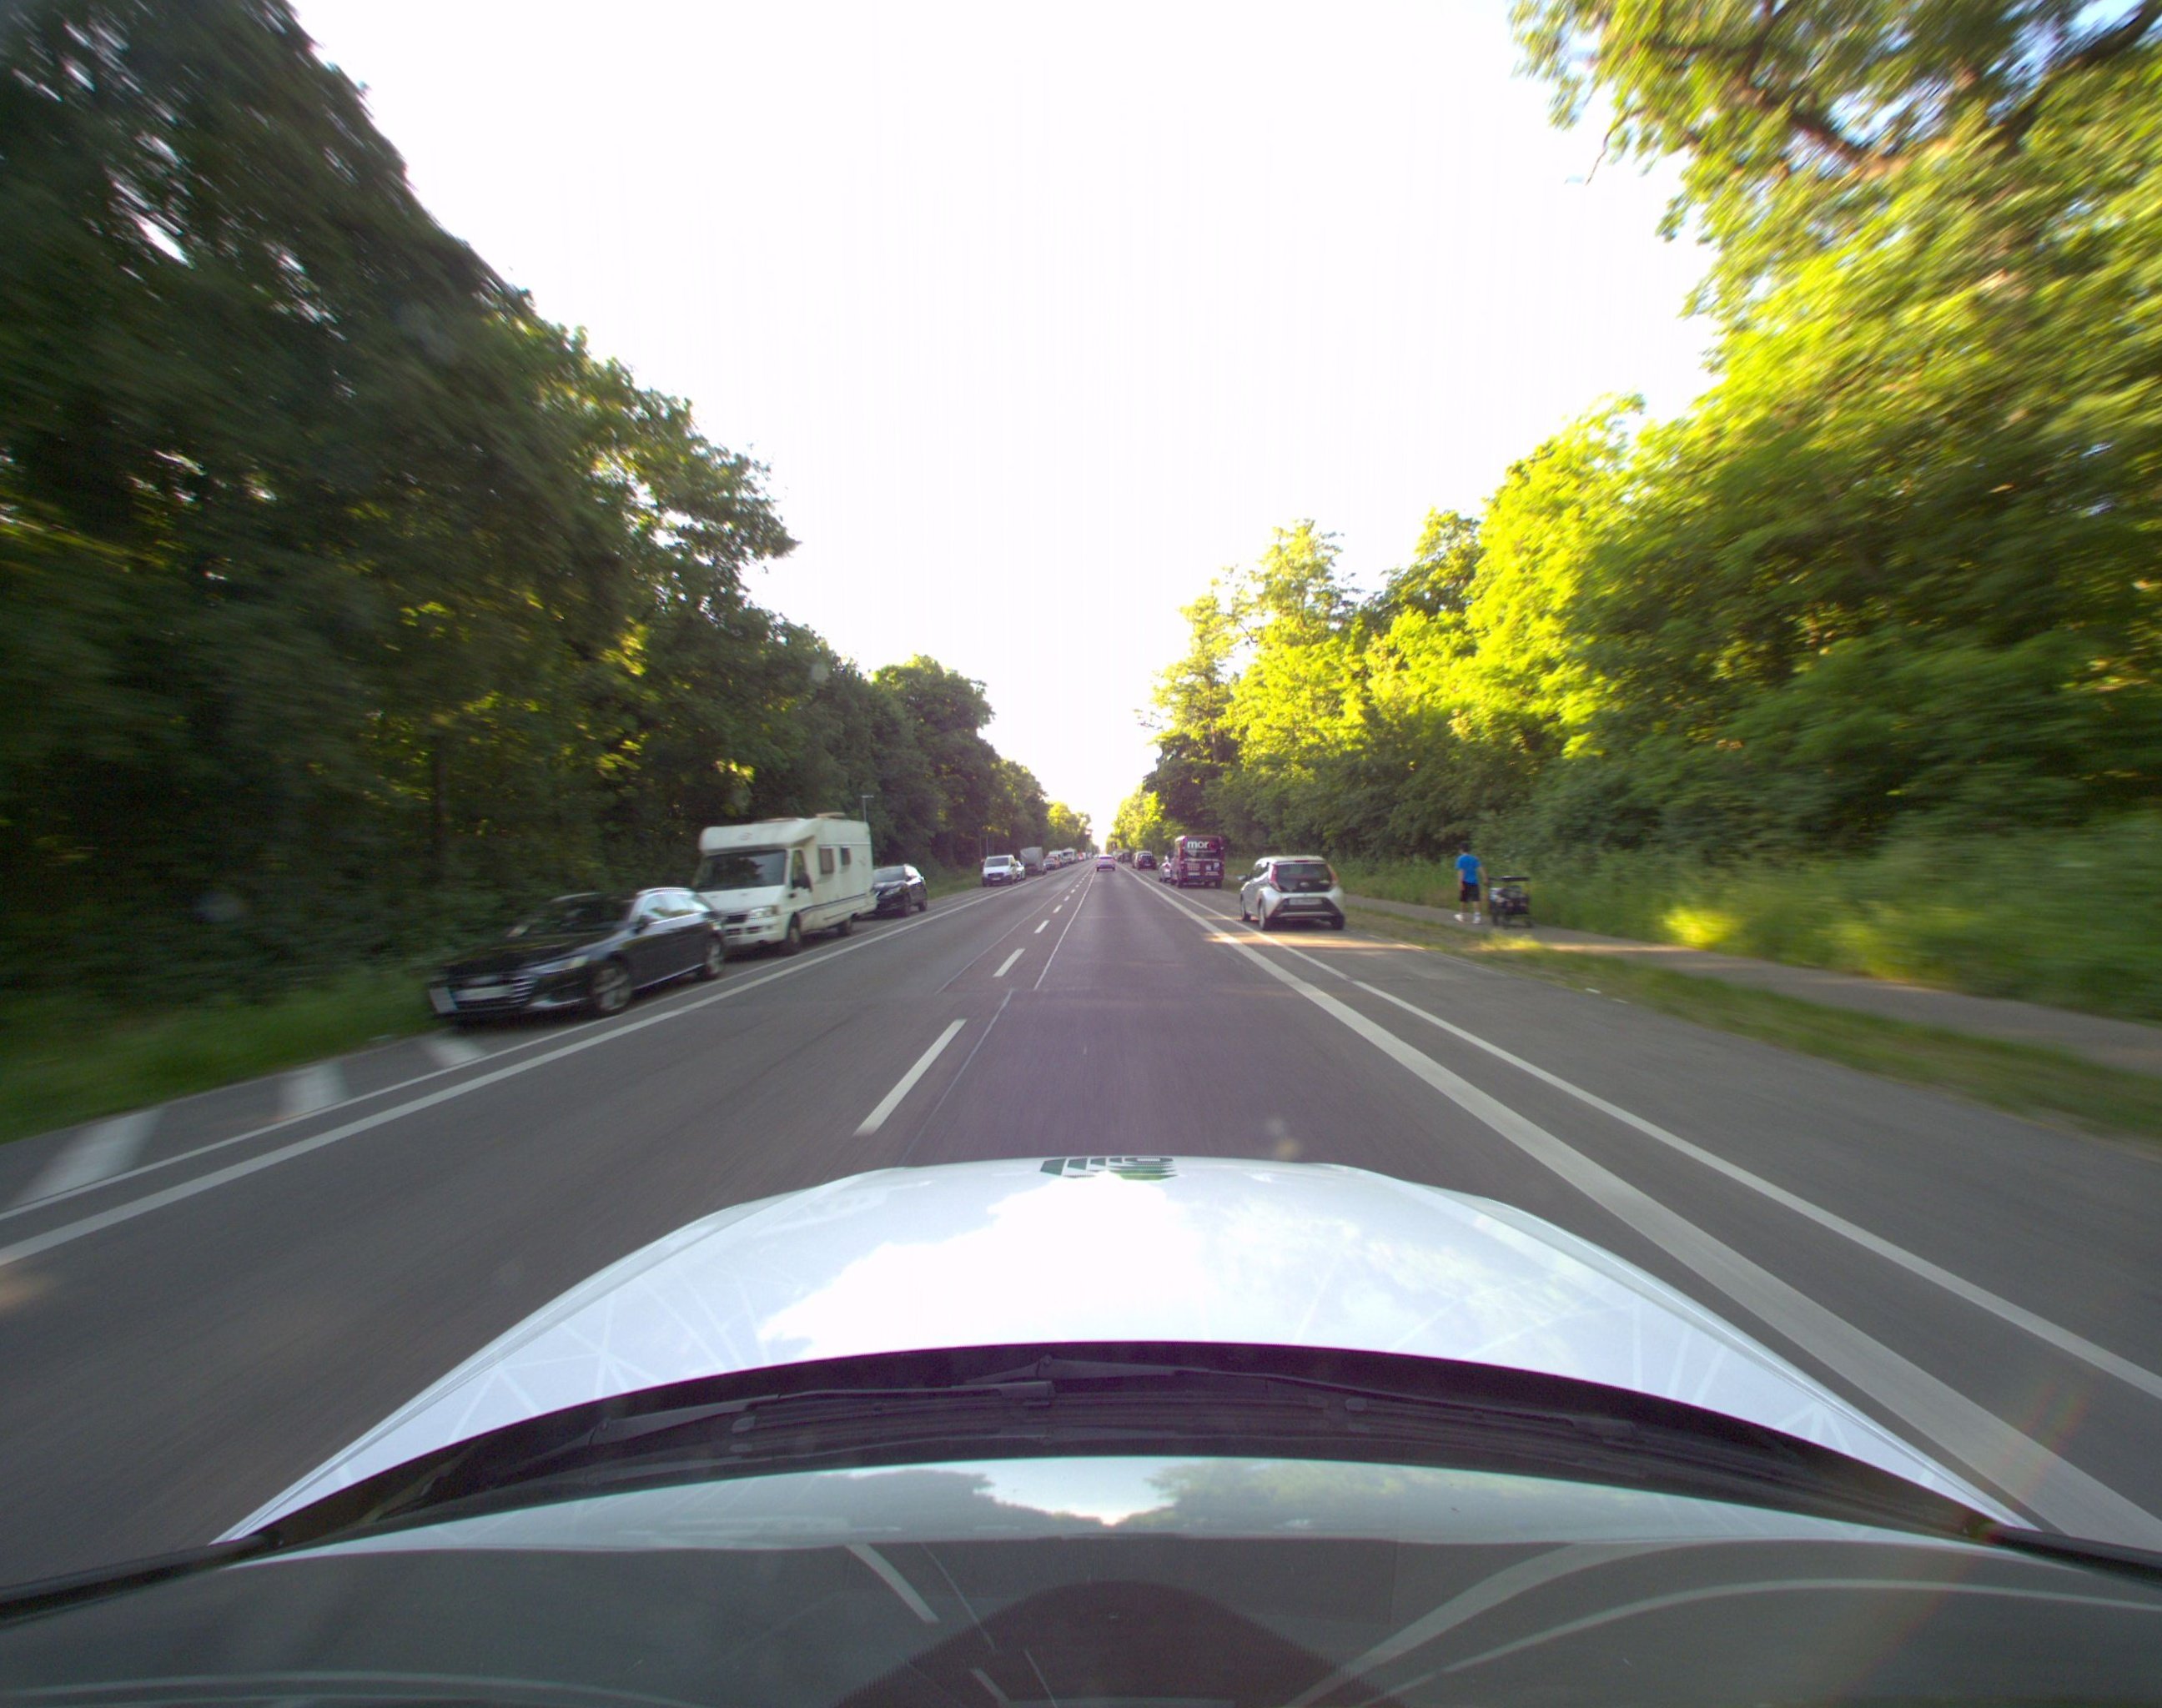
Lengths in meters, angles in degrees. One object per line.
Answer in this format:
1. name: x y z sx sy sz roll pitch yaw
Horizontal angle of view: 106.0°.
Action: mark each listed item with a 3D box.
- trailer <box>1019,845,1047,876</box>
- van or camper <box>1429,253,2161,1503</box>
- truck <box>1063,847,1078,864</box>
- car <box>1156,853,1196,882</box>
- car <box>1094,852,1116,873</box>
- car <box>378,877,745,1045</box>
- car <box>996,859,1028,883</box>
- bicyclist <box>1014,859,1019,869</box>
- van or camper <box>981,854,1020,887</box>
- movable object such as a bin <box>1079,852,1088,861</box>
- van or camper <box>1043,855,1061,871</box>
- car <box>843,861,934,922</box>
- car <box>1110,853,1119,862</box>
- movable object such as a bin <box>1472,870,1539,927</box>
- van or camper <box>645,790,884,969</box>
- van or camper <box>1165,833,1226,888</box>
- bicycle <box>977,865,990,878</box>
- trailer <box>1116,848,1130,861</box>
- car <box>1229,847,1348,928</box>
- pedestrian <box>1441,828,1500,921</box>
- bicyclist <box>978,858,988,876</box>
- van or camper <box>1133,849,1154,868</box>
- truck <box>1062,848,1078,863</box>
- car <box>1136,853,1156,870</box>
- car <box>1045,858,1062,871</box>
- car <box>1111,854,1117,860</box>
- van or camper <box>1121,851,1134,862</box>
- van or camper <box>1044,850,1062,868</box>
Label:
1. trailer: -4.373 0.603 74.715 1.986 2.597 4.417 -5 0 2
2. van or camper: 3.648 0.041 1.768 2.437 2.800 6.543 -1 0 -6
3. truck: -2.325 0.335 179.607 2.697 3.347 10.928 -2 0 2
4. car: 5.274 0.718 45.536 1.742 1.515 3.999 -1 0 0
5. car: 2.316 0.792 78.542 2.021 1.840 4.031 -3 0 2
6. car: -6.318 1.166 10.742 1.822 1.476 4.678 -4 0 -2
7. car: -4.963 1.179 58.971 1.768 1.540 4.525 -4 0 1
8. bicyclist: -7.883 1.193 99.745 0.485 1.235 0.974 -2 0 2
9. van or camper: -5.077 0.990 52.189 1.829 1.911 4.856 -4 0 1
10. movable object such as a bin: 0.691 0.694 226.935 2.313 2.501 4.001 -2 0 1
11. van or camper: -3.832 1.155 108.348 1.916 1.867 4.865 -4 0 2
12. car: -6.036 1.124 26.006 1.640 1.632 4.275 -4 0 2
13. car: 6.629 0.747 161.272 1.834 1.662 4.002 -2 0 2
14. movable object such as a bin: 8.417 0.868 16.182 0.786 1.047 0.987 -2 0 1
15. van or camper: -6.428 0.450 17.872 2.308 2.969 7.108 -5 0 -1
16. van or camper: 5.304 0.271 38.558 2.028 2.312 6.041 -3 0 1
17. bicycle: -7.747 1.393 64.657 0.649 1.008 2.397 -2 0 2
18. trailer: 9.464 0.144 183.501 2.747 2.870 6.591 -2 0 2
19. car: 4.347 0.644 17.636 1.705 1.545 4.025 0 0 3
20. pedestrian: 8.349 0.428 17.481 0.765 1.918 0.920 -2 0 1
21. bicyclist: -7.777 1.045 64.527 0.602 1.374 0.799 -2 0 1
22. van or camper: 6.504 0.458 84.991 1.944 1.815 4.382 -2 0 2
23. truck: -2.227 0.302 167.667 2.697 3.093 7.992 -2 0 2
24. car: 6.260 0.706 78.582 1.684 1.524 4.151 -1 0 2
25. car: -3.356 1.303 101.635 1.725 1.478 4.326 -4 0 2
26. car: 8.845 0.789 219.457 1.650 1.478 3.755 -2 0 2
27. van or camper: 7.846 0.410 138.493 1.986 1.932 5.201 -1 0 2
28. van or camper: -4.124 0.705 120.377 2.113 2.572 6.545 -3 0 2
